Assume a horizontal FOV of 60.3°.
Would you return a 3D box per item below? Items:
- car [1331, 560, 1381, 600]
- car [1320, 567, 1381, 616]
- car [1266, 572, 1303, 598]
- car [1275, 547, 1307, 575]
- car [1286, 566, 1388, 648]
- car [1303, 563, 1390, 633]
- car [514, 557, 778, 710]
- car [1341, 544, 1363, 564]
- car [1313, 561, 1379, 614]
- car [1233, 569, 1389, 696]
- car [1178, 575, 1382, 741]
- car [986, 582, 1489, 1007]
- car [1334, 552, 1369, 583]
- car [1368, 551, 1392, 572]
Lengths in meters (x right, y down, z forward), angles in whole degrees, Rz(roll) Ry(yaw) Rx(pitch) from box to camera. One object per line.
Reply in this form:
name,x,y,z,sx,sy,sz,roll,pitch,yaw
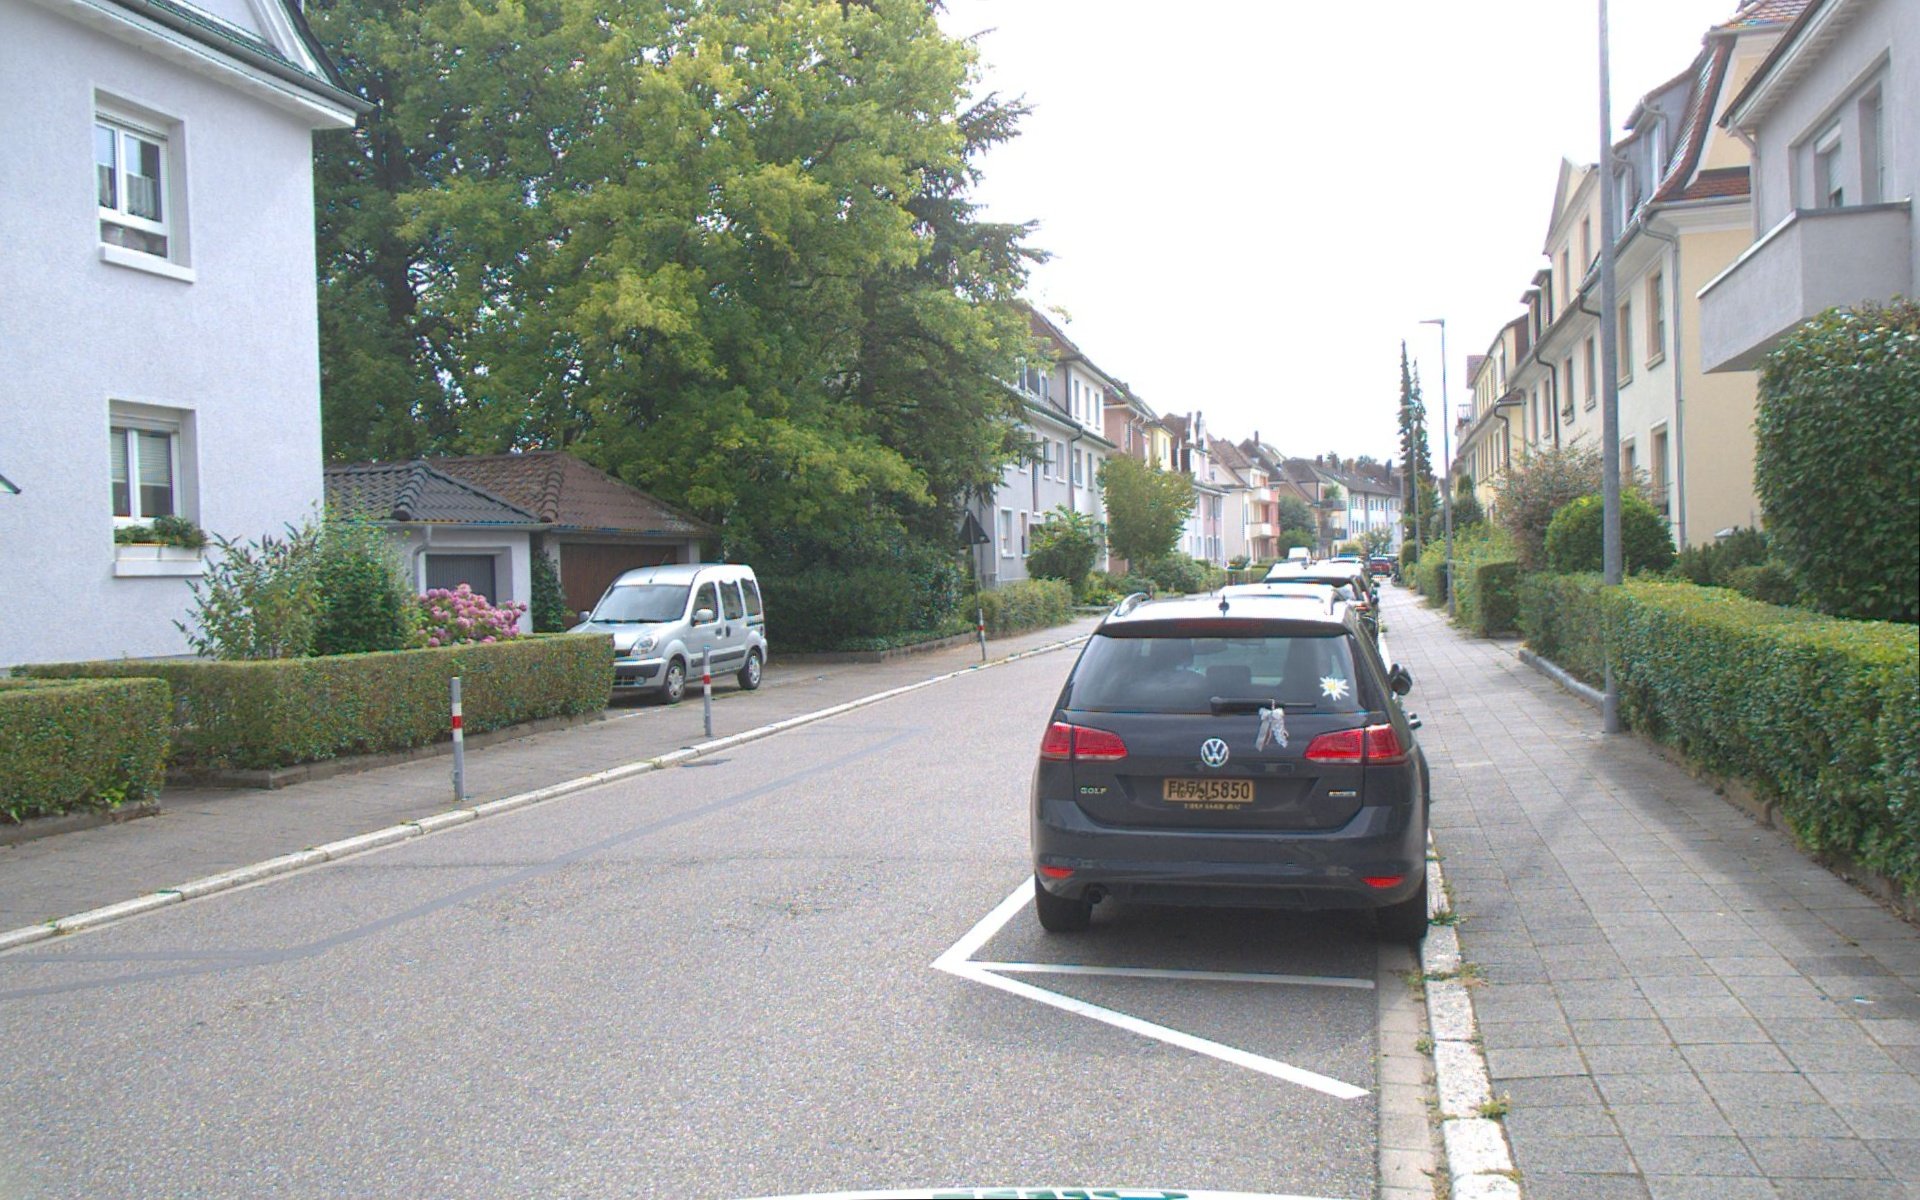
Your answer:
car,16.164,-0.831,67.436,1.814,1.497,4.179,-2,1,15
car,13.124,-0.320,55.435,1.814,1.497,4.179,-2,1,15
car,22.023,-1.024,112.087,1.951,1.668,4.003,-2,1,17
car,24.946,-2.947,124.549,1.951,2.048,4.003,-2,1,16
car,7.790,0.106,33.957,1.814,1.497,4.179,-2,1,15
car,9.240,-0.088,39.364,1.814,1.497,4.179,-2,1,15
car,-4.209,0.389,22.877,1.951,1.869,4.003,-2,1,16
car,43.188,-5.042,182.121,1.951,2.160,4.003,-2,1,17
car,11.995,-0.425,51.224,1.814,1.497,4.179,-2,1,15
car,4.893,0.374,22.679,1.814,1.497,4.179,-2,1,15
car,3.561,0.534,17.842,1.814,1.497,4.179,-2,1,15
car,1.404,0.719,8.259,1.814,1.497,4.179,-2,1,11
car,21.654,-1.817,91.353,1.814,1.605,4.179,-2,1,14
car,34.945,-3.200,137.464,1.814,1.605,4.179,-2,1,15
